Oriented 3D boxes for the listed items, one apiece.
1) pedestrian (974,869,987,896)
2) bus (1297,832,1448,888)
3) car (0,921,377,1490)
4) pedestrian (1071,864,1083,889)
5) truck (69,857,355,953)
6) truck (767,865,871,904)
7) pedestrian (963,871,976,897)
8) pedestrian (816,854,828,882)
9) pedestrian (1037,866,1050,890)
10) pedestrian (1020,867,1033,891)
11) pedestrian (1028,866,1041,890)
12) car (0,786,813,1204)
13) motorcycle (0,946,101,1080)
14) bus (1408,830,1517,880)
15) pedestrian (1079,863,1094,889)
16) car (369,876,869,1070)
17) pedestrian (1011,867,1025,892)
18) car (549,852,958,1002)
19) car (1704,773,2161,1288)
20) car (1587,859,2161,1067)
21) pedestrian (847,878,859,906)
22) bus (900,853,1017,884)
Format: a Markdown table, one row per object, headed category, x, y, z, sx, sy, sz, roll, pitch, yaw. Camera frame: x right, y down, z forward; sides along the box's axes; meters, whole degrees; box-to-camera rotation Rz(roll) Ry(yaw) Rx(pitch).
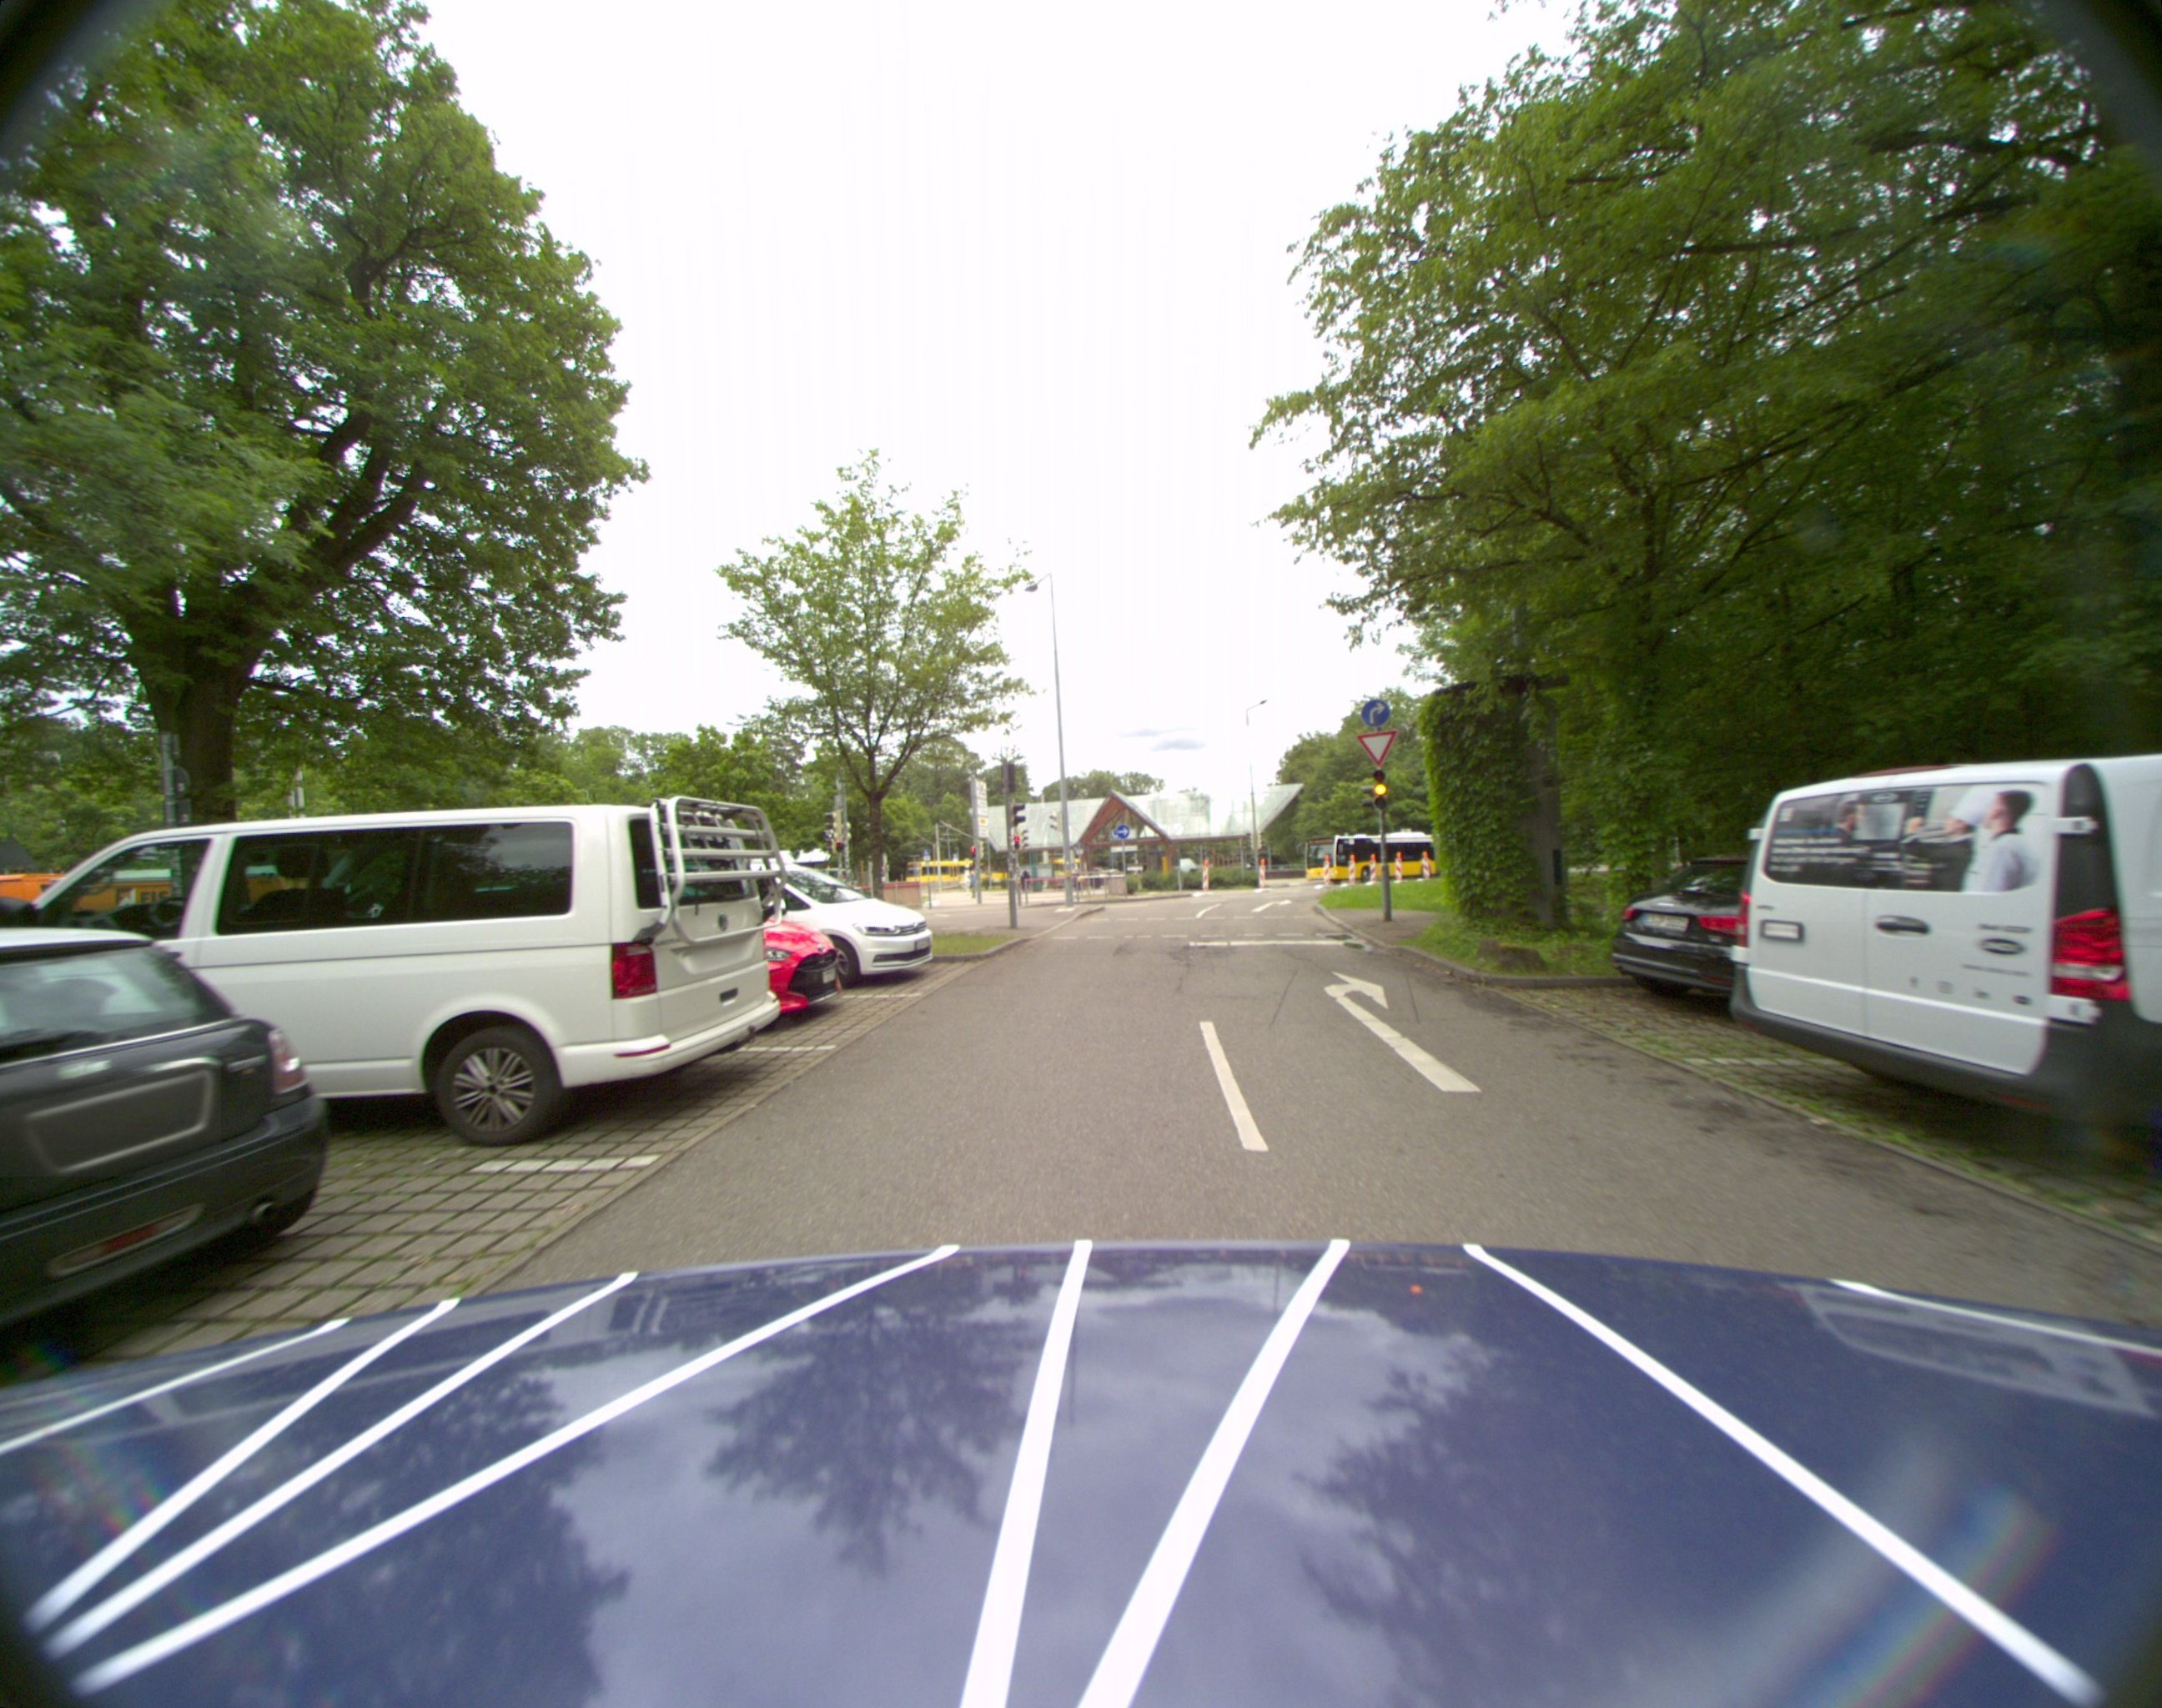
| category | x | y | z | sx | sy | sz | roll | pitch | yaw |
| --- | --- | --- | --- | --- | --- | --- | --- | --- | --- |
| pedestrian | -6.835 | 1.948 | 51.478 | 0.737 | 1.746 | 0.668 | -4 | -1 | -10 |
| bus | 18.977 | 0.347 | 49.206 | 10.533 | 3.139 | 2.807 | -2 | -2 | -28 |
| car | -4.955 | 1.157 | 2.384 | 3.732 | 1.545 | 1.847 | -4 | -2 | 1 |
| pedestrian | -0.261 | 1.605 | 54.910 | 0.656 | 1.746 | 0.668 | -4 | -1 | -8 |
| truck | -36.061 | 2.040 | 31.801 | 8.243 | 3.493 | 2.868 | -2 | 0 | -3 |
| truck | -18.714 | 2.132 | 54.495 | 6.557 | 2.337 | 2.401 | -2 | -3 | -45 |
| pedestrian | -7.485 | 2.020 | 51.055 | 0.737 | 1.746 | 0.668 | -4 | -1 | -9 |
| pedestrian | -14.134 | 0.756 | 41.440 | 0.480 | 1.507 | 0.522 | -3 | -2 | -26 |
| pedestrian | -2.811 | 1.790 | 56.480 | 0.601 | 1.746 | 0.667 | -3 | -2 | -32 |
| pedestrian | -4.061 | 1.859 | 56.650 | 0.560 | 1.746 | 0.670 | -5 | -2 | 44 |
| pedestrian | -3.455 | 1.794 | 56.356 | 0.601 | 1.746 | 0.667 | -3 | -2 | -32 |
| car | -4.589 | 0.835 | 5.151 | 4.659 | 2.009 | 2.084 | -4 | -1 | 3 |
| motorcycle | -10.302 | 1.517 | 6.726 | 0.676 | 1.153 | 2.011 | -3 | -1 | -4 |
| bus | 27.010 | 0.037 | 53.702 | 7.767 | 3.139 | 2.807 | -2 | -2 | -28 |
| pedestrian | 0.391 | 1.496 | 52.340 | 0.667 | 1.746 | 0.657 | -5 | -2 | 27 |
| car | -4.536 | 1.142 | 7.810 | 4.004 | 1.546 | 1.948 | -4 | -1 | 9 |
| pedestrian | -4.698 | 1.904 | 56.814 | 0.732 | 1.746 | 0.738 | -4 | -2 | 17 |
| car | -4.221 | 0.911 | 10.274 | 4.528 | 1.683 | 2.166 | -2 | 1 | 8 |
| car | 6.415 | 0.582 | 3.638 | 5.097 | 1.904 | 1.979 | -2 | 0 | 4 |
| car | 6.888 | 0.819 | 6.414 | 3.996 | 1.371 | 1.723 | -2 | 0 | 3 |
| pedestrian | -12.599 | 2.088 | 42.057 | 0.480 | 1.507 | 0.522 | -3 | -2 | -26 |
| bus | -15.562 | 1.797 | 100.198 | 3.969 | 3.461 | 18.614 | -5 | -2 | 31 |
